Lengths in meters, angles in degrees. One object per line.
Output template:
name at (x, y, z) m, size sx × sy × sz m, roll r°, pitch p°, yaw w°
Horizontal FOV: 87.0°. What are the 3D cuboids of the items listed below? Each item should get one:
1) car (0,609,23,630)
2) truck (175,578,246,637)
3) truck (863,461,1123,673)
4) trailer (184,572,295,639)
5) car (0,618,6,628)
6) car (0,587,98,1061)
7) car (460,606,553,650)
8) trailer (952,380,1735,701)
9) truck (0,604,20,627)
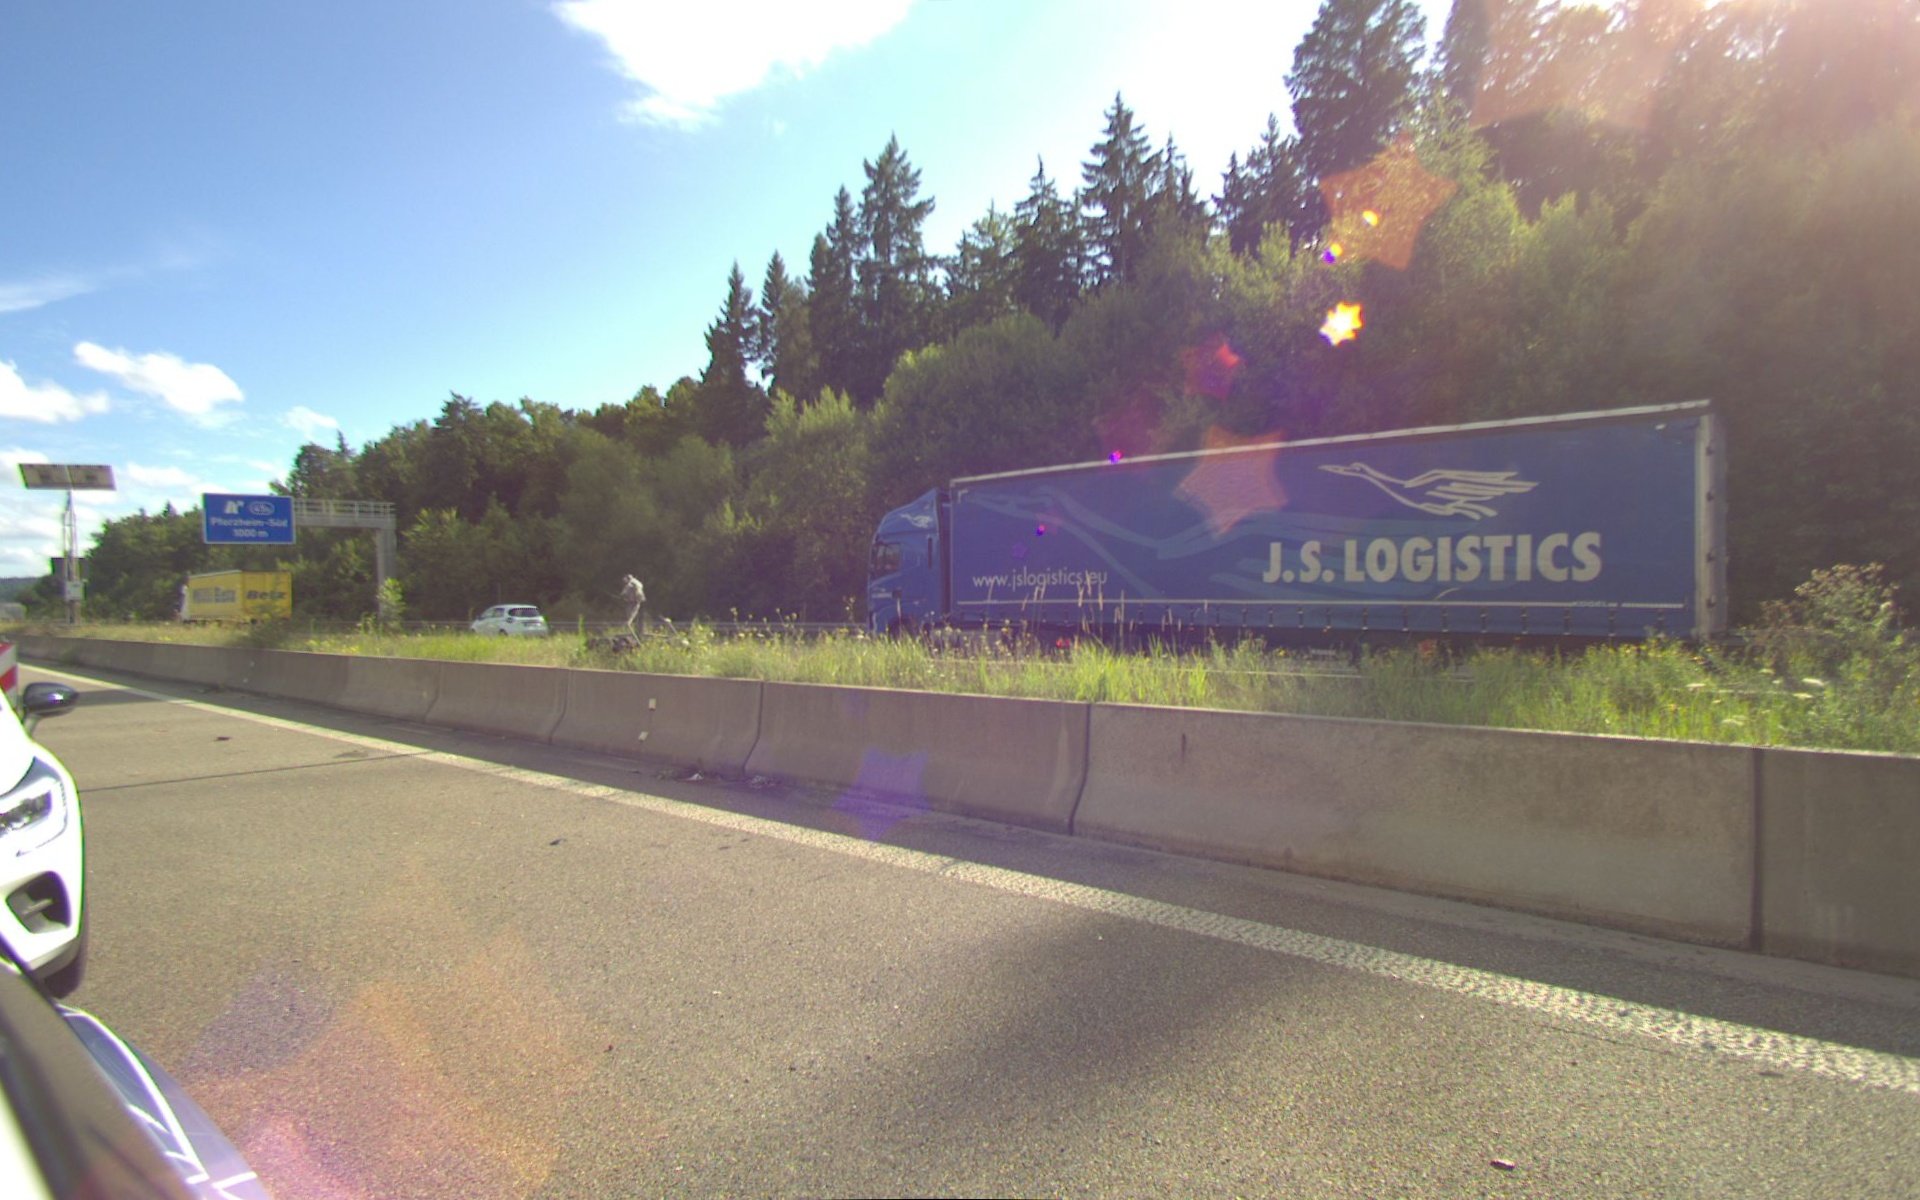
car at (-157.799, 3.213, 168.016) m, size 7.448 × 3.395 × 2.461 m, roll -1°, pitch 0°, yaw 41°
truck at (-52.105, 0.497, 70.300) m, size 5.946 × 3.938 × 2.797 m, roll -1°, pitch 0°, yaw 41°
truck at (0.647, -0.651, 23.033) m, size 5.465 × 4.221 × 2.610 m, roll -1°, pitch 0°, yaw 41°
trailer at (-47.098, 0.372, 65.880) m, size 13.934 × 3.952 × 2.798 m, roll -1°, pitch 0°, yaw 41°
car at (-131.283, 3.171, 137.634) m, size 4.286 × 1.373 × 1.938 m, roll -1°, pitch 0°, yaw 41°
car at (-5.025, 0.753, 4.081) m, size 3.881 × 1.549 × 1.817 m, roll -1°, pitch 0°, yaw 41°
car at (-17.613, 1.058, 39.235) m, size 3.998 × 1.572 × 1.768 m, roll -1°, pitch 0°, yaw 41°
trailer at (5.707, -0.733, 18.567) m, size 13.366 × 4.172 × 2.592 m, roll -1°, pitch 0°, yaw 41°
truck at (-171.121, 2.812, 181.437) m, size 10.181 × 4.022 × 2.771 m, roll -1°, pitch 0°, yaw 41°
